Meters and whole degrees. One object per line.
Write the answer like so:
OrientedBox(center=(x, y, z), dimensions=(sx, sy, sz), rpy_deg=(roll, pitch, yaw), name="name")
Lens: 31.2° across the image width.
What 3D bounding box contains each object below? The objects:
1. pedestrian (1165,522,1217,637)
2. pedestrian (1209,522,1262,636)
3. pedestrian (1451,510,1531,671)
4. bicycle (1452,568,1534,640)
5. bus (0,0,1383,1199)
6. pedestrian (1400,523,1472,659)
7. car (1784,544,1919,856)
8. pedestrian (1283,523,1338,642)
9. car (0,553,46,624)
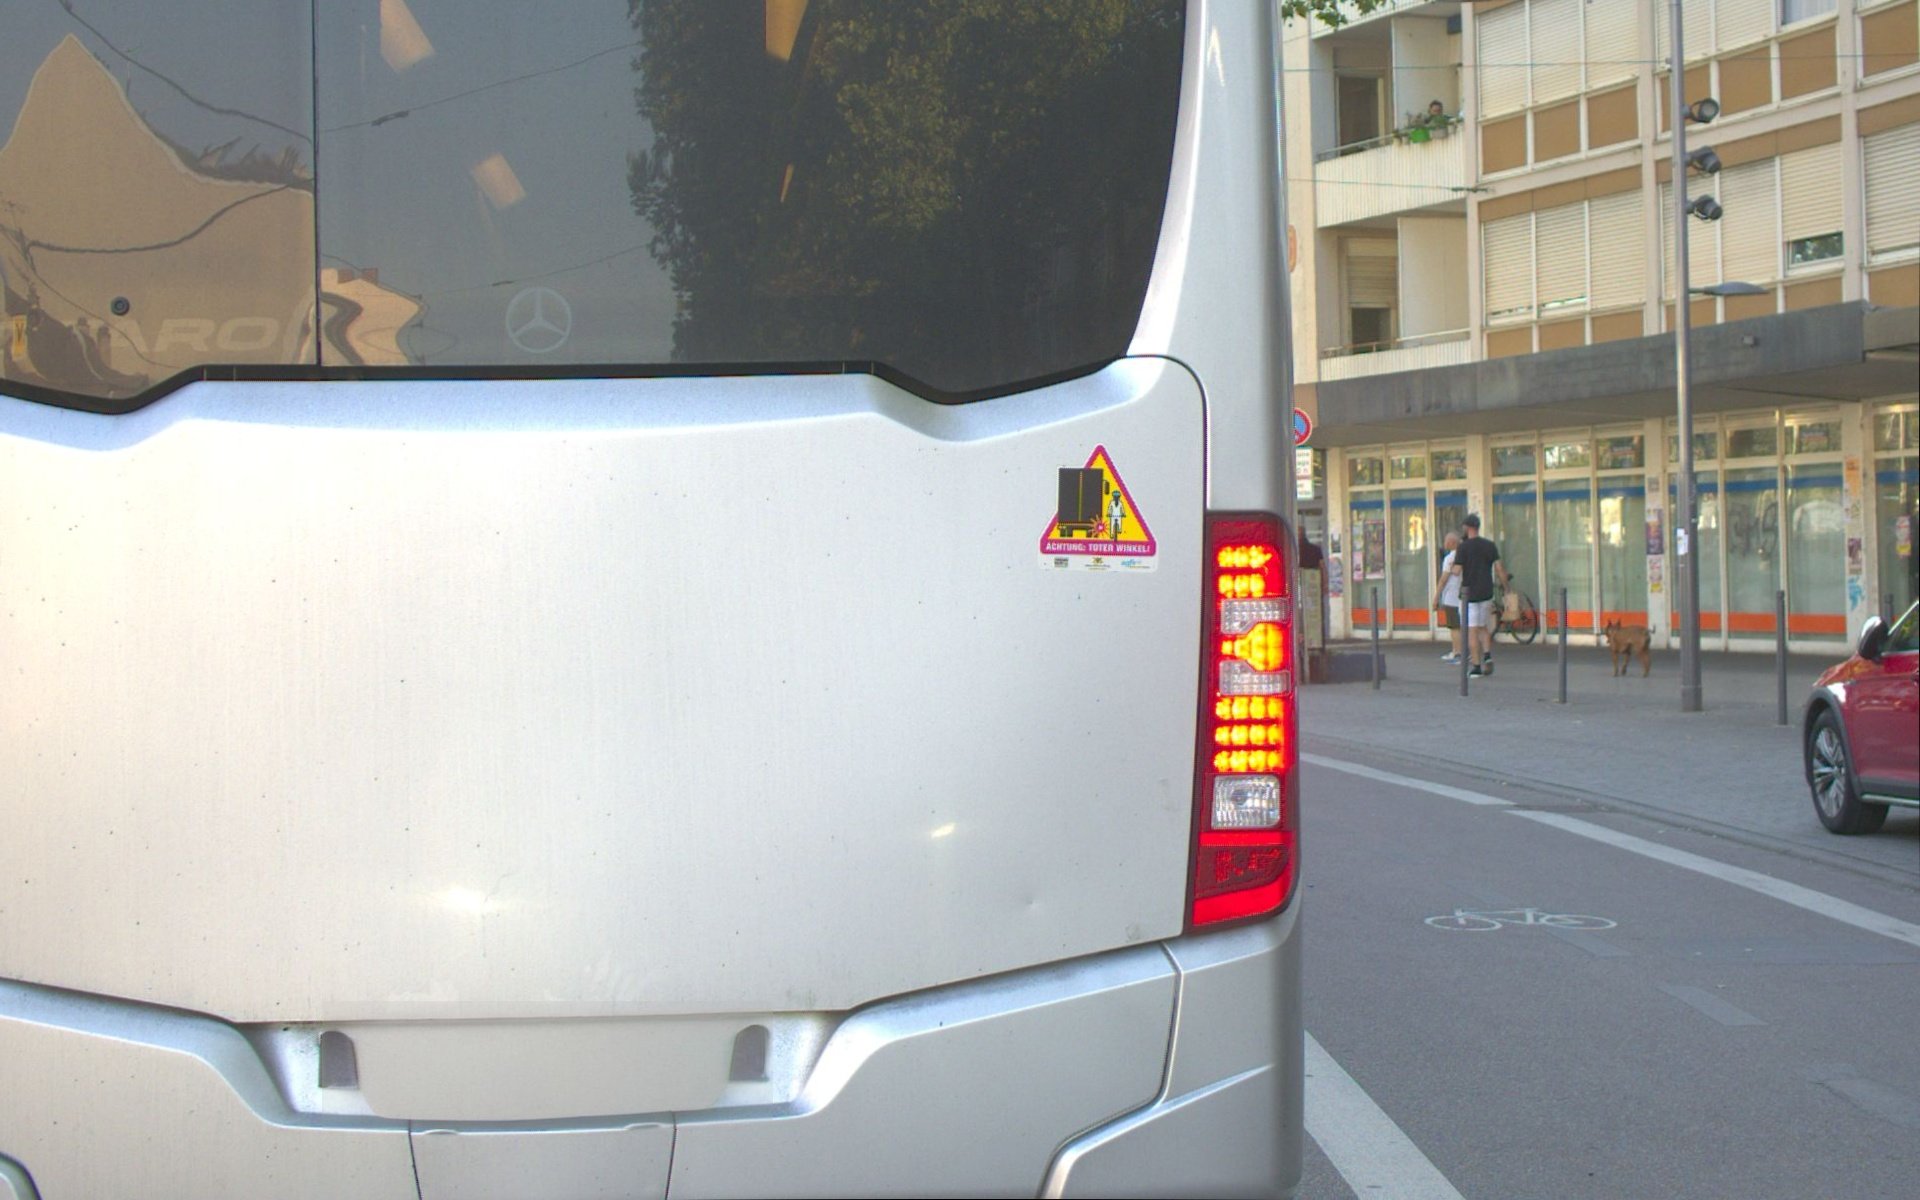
OrientedBox(center=(3.347, -0.294, 49.777), dimensions=(0.535, 1.643, 0.616), rpy_deg=(-1, 1, -17), name="pedestrian")
OrientedBox(center=(4.020, -0.302, 50.211), dimensions=(0.535, 1.643, 0.616), rpy_deg=(-1, 1, -17), name="pedestrian")
OrientedBox(center=(5.744, -0.104, 37.197), dimensions=(0.645, 1.711, 0.560), rpy_deg=(-1, 1, -16), name="pedestrian")
OrientedBox(center=(7.133, 0.043, 46.022), dimensions=(0.412, 0.941, 1.441), rpy_deg=(-1, 1, -21), name="bicycle")
OrientedBox(center=(-0.734, -0.149, 10.292), dimensions=(2.630, 3.017, 9.998), rpy_deg=(0, 1, -1), name="bus")
OrientedBox(center=(5.602, -0.105, 40.478), dimensions=(0.645, 1.576, 0.560), rpy_deg=(-1, 1, -16), name="pedestrian")
OrientedBox(center=(5.493, 0.463, 16.371), dimensions=(1.769, 1.477, 4.304), rpy_deg=(-2, 1, -4), name="car")
OrientedBox(center=(4.898, -0.242, 48.076), dimensions=(0.535, 1.643, 0.616), rpy_deg=(-1, 1, -17), name="pedestrian")
OrientedBox(center=(-25.168, -0.308, 87.786), dimensions=(1.994, 1.785, 3.998), rpy_deg=(0, 0, -41), name="car")
